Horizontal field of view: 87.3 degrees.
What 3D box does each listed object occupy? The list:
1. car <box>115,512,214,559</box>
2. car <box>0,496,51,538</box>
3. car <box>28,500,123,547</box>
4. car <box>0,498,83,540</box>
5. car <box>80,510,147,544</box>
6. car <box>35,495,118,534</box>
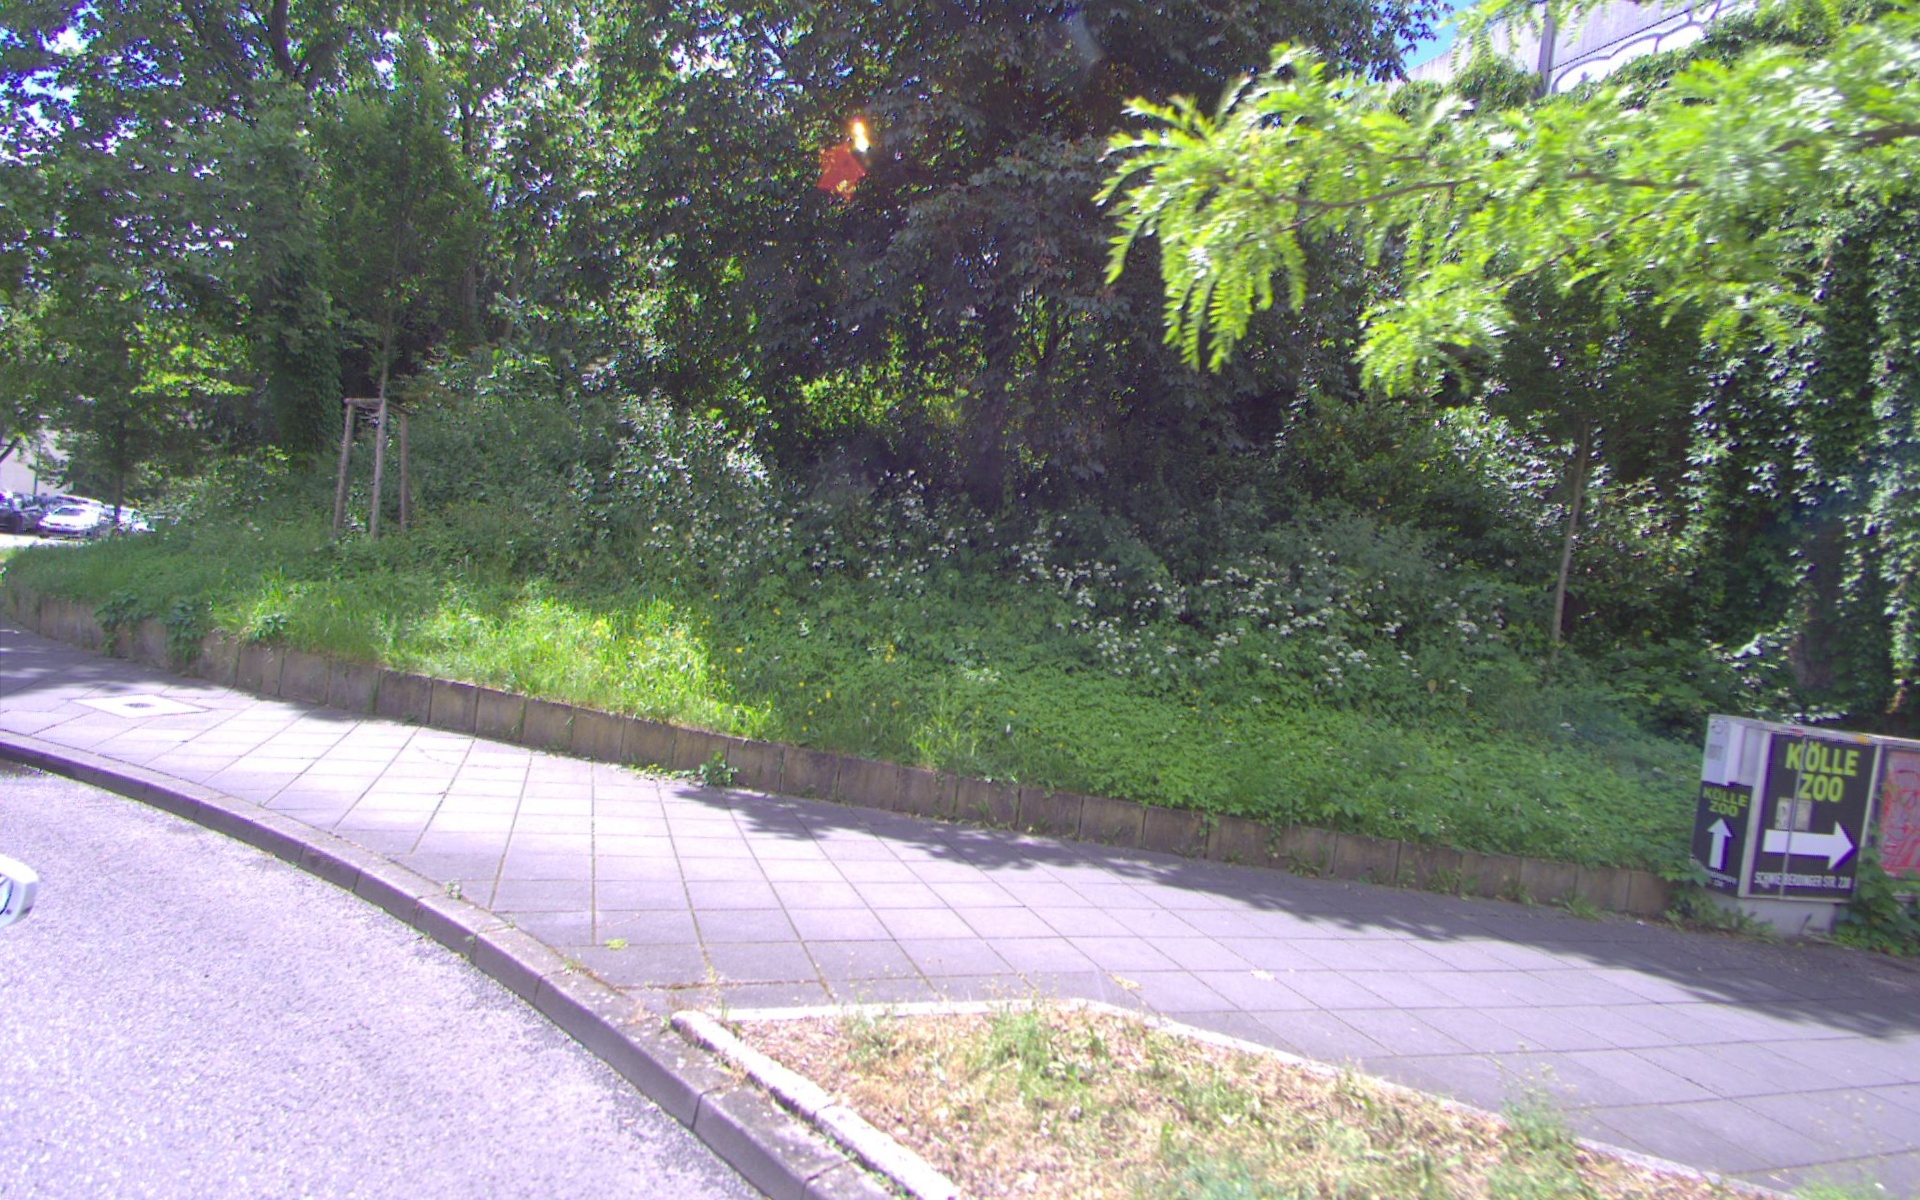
[{"bbox_3d":[-26.732,-2.141,33.947,1.735,1.347,3.974,4,1,-26],"label":"car"},{"bbox_3d":[-39.322,-3.472,41.274,1.979,1.526,4.549,8,-1,-30],"label":"car"},{"bbox_3d":[-36.553,-3.120,41.684,1.979,1.526,4.549,7,-1,-30],"label":"car"},{"bbox_3d":[-41.729,-3.631,45.611,1.979,1.526,4.549,8,-1,-30],"label":"car"},{"bbox_3d":[-47.461,-4.052,56.526,1.979,1.526,4.549,8,-1,-30],"label":"car"},{"bbox_3d":[-44.749,-4.304,51.086,1.977,1.526,4.553,8,-1,-27],"label":"car"}]
